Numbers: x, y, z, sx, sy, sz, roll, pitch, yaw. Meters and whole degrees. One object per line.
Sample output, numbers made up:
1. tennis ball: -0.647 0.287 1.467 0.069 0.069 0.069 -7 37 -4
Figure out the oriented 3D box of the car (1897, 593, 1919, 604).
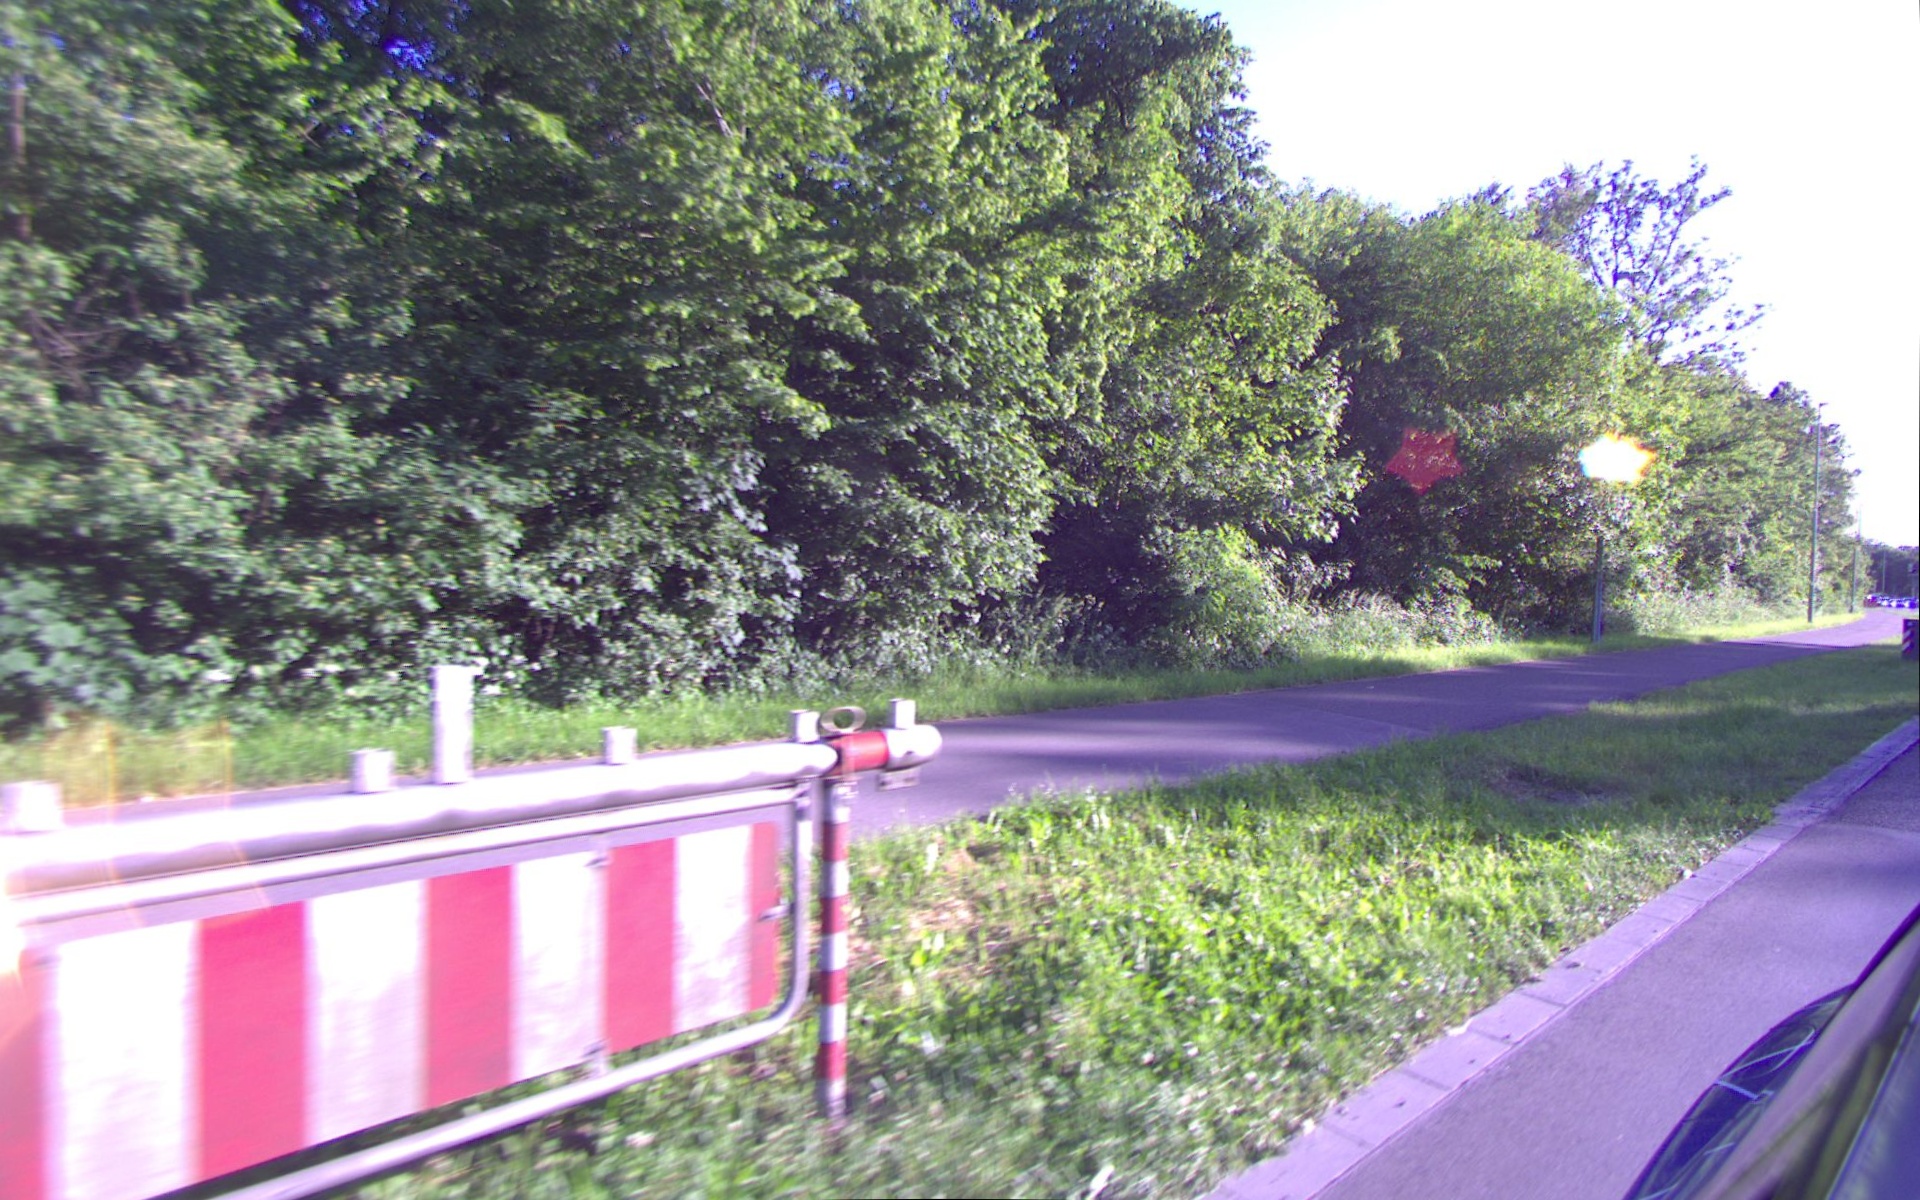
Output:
1. car: 141.371 -0.188 150.984 1.989 1.537 3.947 2 2 37
